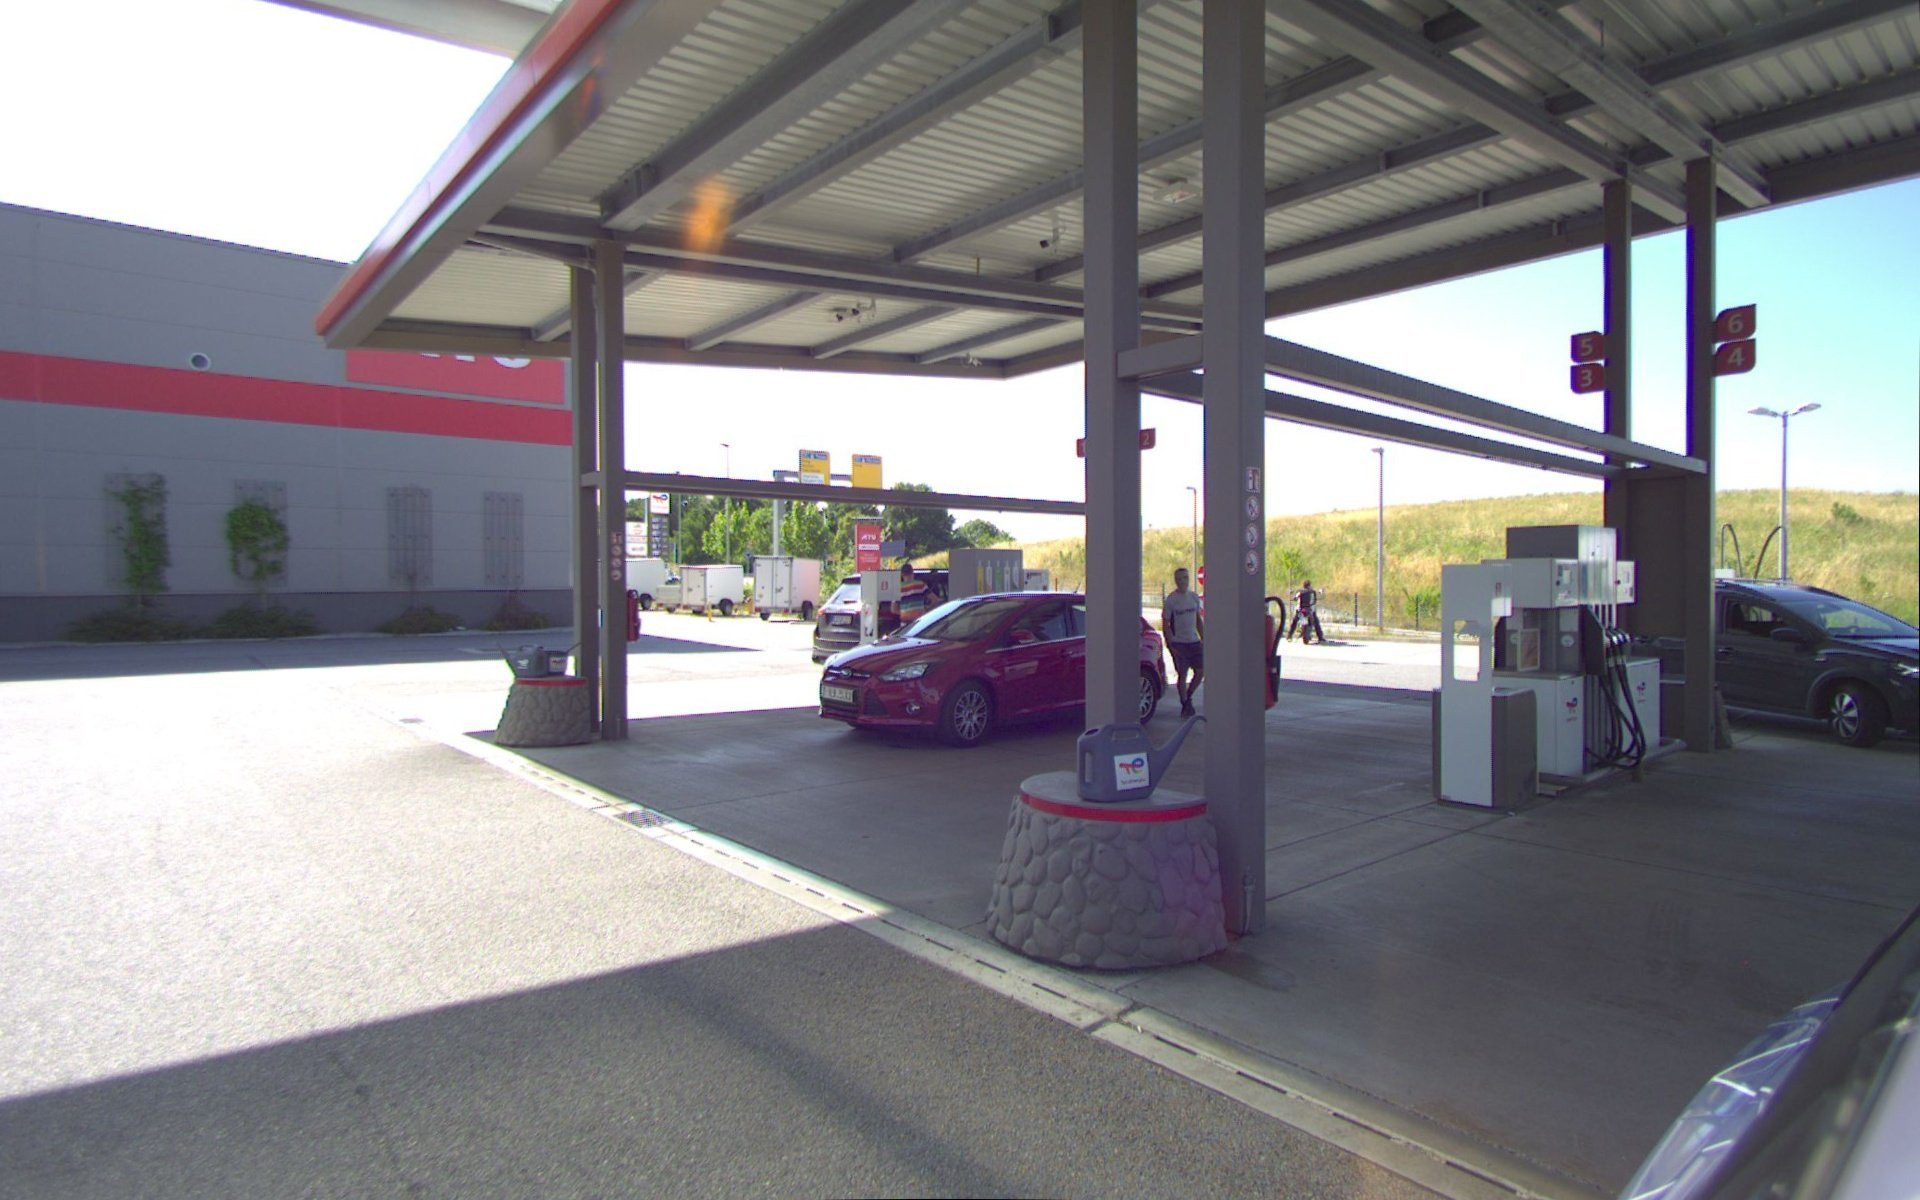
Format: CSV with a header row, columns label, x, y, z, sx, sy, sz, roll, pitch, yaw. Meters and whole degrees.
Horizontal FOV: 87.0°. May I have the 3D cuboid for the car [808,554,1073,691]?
label,x,y,z,sx,sy,sz,roll,pitch,yaw
car,-0.130,0.296,16.415,2.019,1.874,4.742,1,0,32

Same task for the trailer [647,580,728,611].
label,x,y,z,sx,sy,sz,roll,pitch,yaw
trailer,-12.116,-0.223,45.243,1.561,1.297,3.689,1,1,24

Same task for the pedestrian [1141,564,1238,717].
label,x,y,z,sx,sy,sz,roll,pitch,yaw
pedestrian,2.703,0.451,11.981,0.689,1.724,0.929,0,0,-27

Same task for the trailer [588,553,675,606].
label,x,y,z,sx,sy,sz,roll,pitch,yaw
trailer,-15.926,-0.994,49.189,1.976,2.457,3.972,1,1,21

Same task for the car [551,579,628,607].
label,x,y,z,sx,sy,sz,roll,pitch,yaw
car,-18.231,-0.365,49.973,1.658,1.334,3.818,1,1,15

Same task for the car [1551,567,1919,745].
label,x,y,z,sx,sy,sz,roll,pitch,yaw
car,9.353,0.494,11.554,1.707,1.665,4.642,0,1,-15

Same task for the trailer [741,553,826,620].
label,x,y,z,sx,sy,sz,roll,pitch,yaw
trailer,-6.757,-0.540,39.206,1.969,2.457,3.987,1,1,11

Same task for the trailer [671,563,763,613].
label,x,y,z,sx,sy,sz,roll,pitch,yaw
trailer,-10.353,-0.533,43.387,1.783,2.039,3.967,0,1,24

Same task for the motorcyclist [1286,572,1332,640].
label,x,y,z,sx,sy,sz,roll,pitch,yaw
motorcyclist,9.117,0.140,26.407,1.023,1.709,1.090,1,1,24

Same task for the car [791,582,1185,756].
label,x,y,z,sx,sy,sz,roll,pitch,yaw
car,0.440,0.568,10.736,4.159,1.487,1.701,-1,1,-42

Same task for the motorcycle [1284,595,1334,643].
label,x,y,z,sx,sy,sz,roll,pitch,yaw
motorcycle,9.151,0.459,26.457,1.034,1.119,2.397,1,2,24
